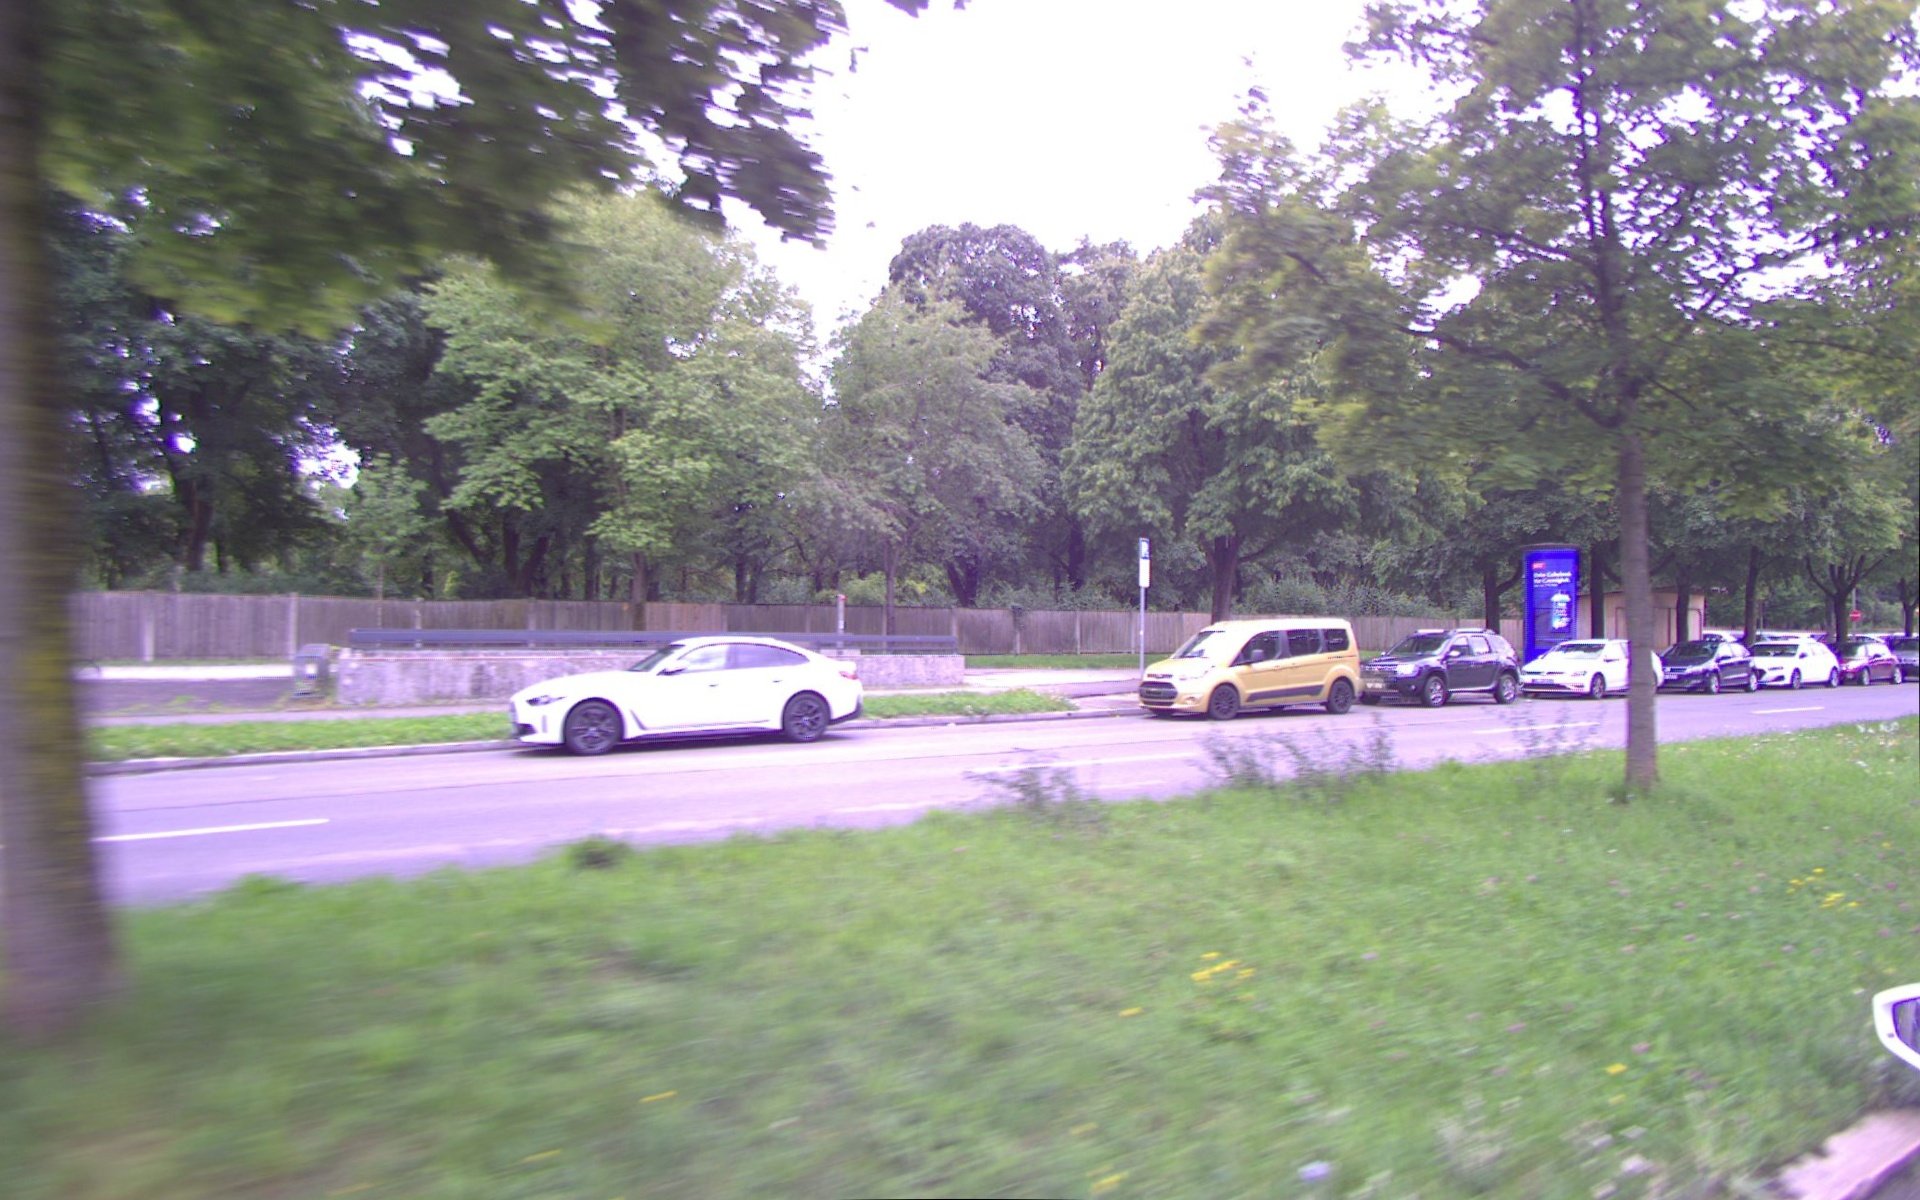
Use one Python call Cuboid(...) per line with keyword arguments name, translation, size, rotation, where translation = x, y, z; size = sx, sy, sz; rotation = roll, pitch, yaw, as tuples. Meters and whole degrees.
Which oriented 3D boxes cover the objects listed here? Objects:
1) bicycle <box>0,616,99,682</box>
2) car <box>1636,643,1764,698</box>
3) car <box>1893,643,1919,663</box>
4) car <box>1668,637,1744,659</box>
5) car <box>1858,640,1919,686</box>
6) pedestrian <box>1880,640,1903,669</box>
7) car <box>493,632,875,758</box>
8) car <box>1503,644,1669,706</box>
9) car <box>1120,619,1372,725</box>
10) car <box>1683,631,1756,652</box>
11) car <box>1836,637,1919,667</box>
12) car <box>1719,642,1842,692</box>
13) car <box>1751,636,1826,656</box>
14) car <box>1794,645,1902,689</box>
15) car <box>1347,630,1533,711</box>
Cuboid(name="bicycle", translation=(-16.195, 0.851, 17.443), size=(1.804, 1.115, 0.429), rotation=(2, 0, -30))
Cuboid(name="car", translation=(20.731, 1.929, 28.124), size=(3.855, 1.436, 1.604), rotation=(2, -3, -33))
Cuboid(name="car", translation=(71.203, 3.940, 73.659), size=(1.656, 1.465, 3.841), rotation=(2, -1, -35))
Cuboid(name="car", translation=(47.120, 3.016, 63.551), size=(1.639, 1.217, 4.421), rotation=(2, -1, 2))
Cuboid(name="car", translation=(34.858, 2.266, 36.812), size=(4.321, 1.607, 1.682), rotation=(2, -3, -31))
Cuboid(name="pedestrian", translation=(51.213, 2.981, 55.247), size=(0.712, 1.554, 0.724), rotation=(2, 0, -29))
Cuboid(name="car", translation=(-3.738, 1.218, 13.948), size=(4.819, 1.492, 1.848), rotation=(2, -3, -31))
Cuboid(name="car", translation=(15.951, 1.851, 25.544), size=(4.481, 1.468, 1.754), rotation=(2, -3, -31))
Cuboid(name="car", translation=(5.494, 1.312, 19.119), size=(4.759, 1.806, 1.807), rotation=(1, -3, -29))
Cuboid(name="car", translation=(61.995, 3.391, 82.073), size=(1.652, 1.496, 4.486), rotation=(2, -1, -29))
Cuboid(name="car", translation=(60.995, 3.424, 66.744), size=(1.656, 1.740, 3.893), rotation=(2, -1, -35))
Cuboid(name="car", translation=(25.632, 2.062, 31.355), size=(4.229, 1.463, 1.600), rotation=(1, -3, -30))
Cuboid(name="car", translation=(71.545, 3.957, 86.812), size=(1.652, 1.465, 4.670), rotation=(2, -1, -29))
Cuboid(name="car", translation=(29.954, 2.224, 33.864), size=(3.585, 1.415, 1.584), rotation=(1, -3, -29))
Cuboid(name="car", translation=(10.789, 1.537, 22.519), size=(4.207, 1.667, 1.728), rotation=(2, -3, -31))
